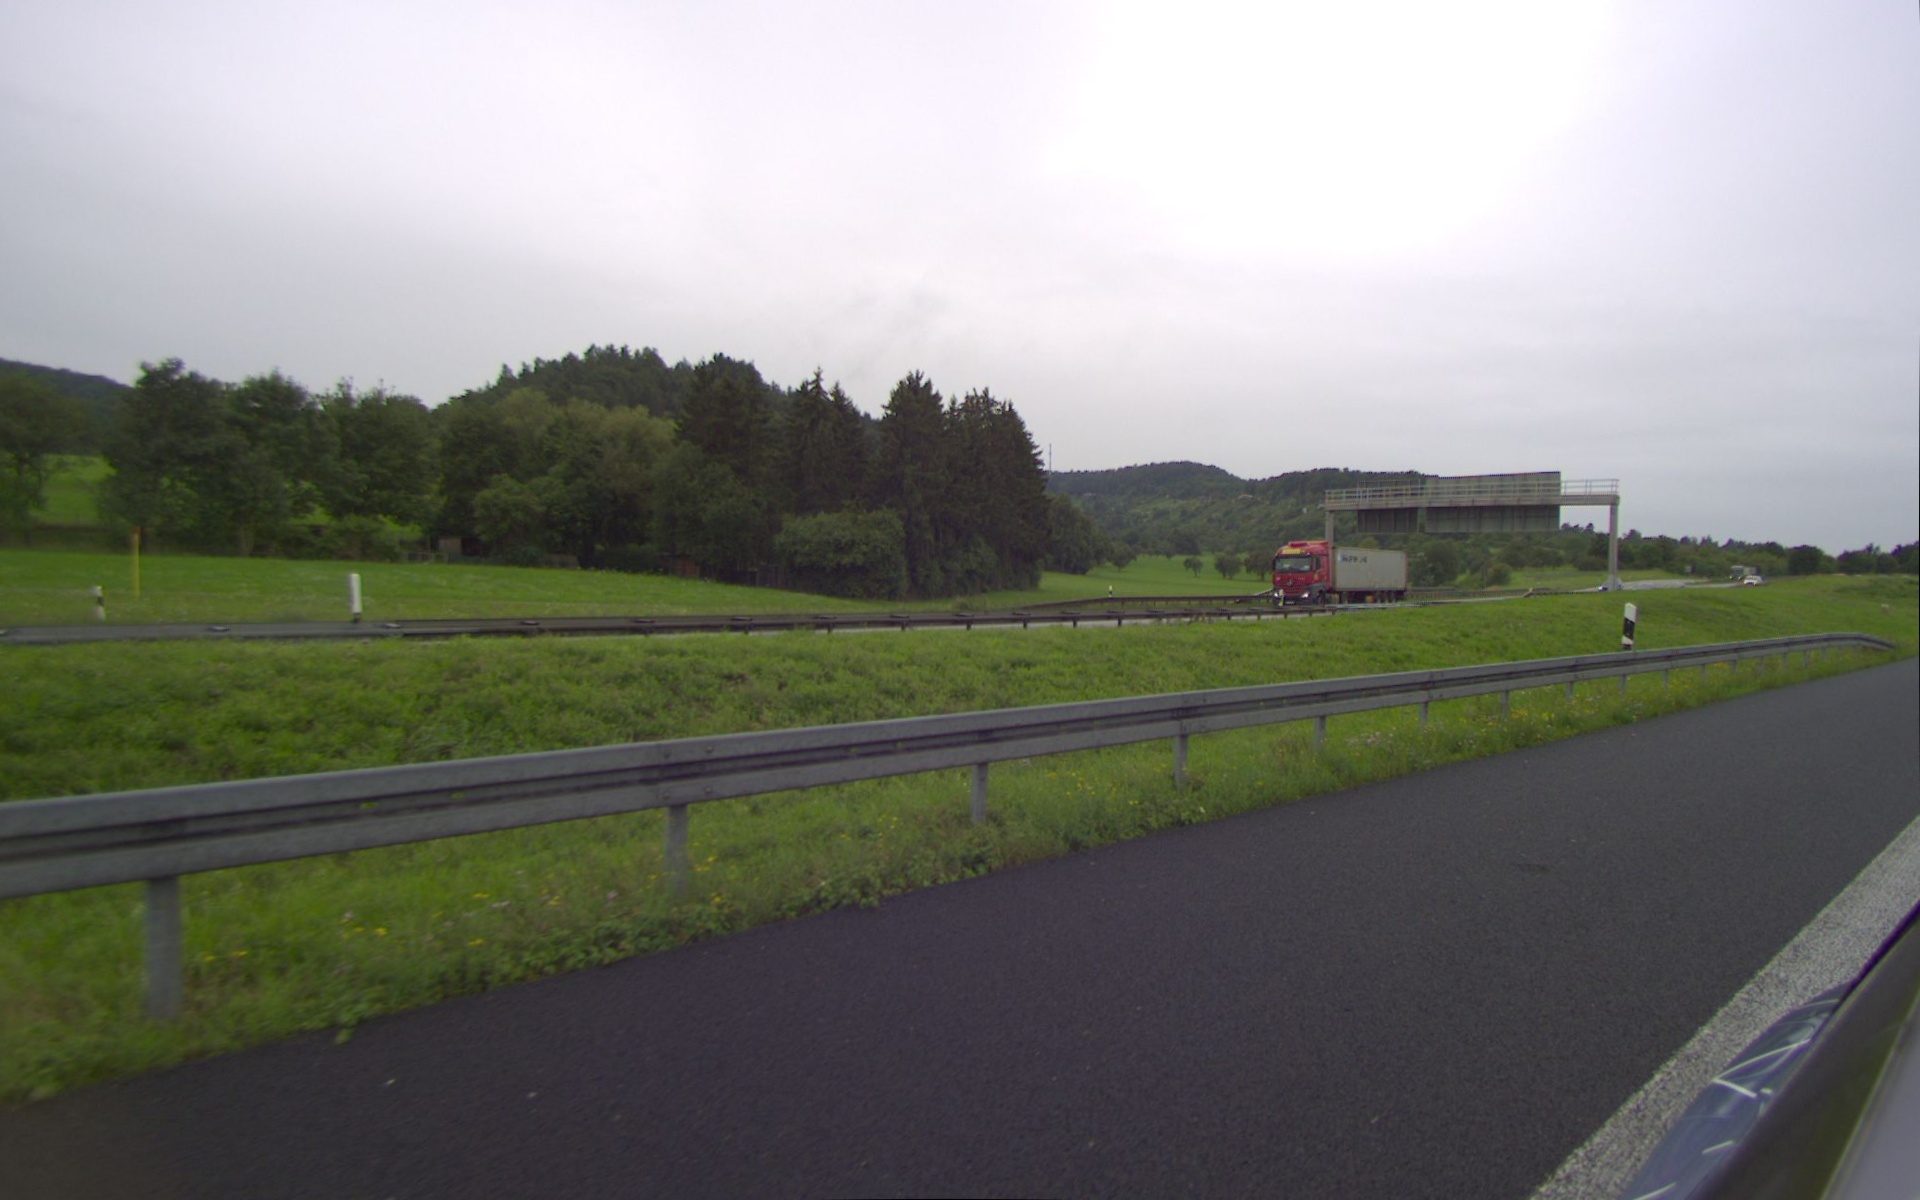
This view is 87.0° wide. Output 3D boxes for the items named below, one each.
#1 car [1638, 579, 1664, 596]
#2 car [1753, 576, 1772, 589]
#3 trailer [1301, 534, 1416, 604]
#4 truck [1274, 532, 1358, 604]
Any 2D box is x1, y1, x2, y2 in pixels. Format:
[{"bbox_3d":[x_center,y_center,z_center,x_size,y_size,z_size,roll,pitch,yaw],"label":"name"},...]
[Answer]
[{"bbox_3d":[75.097,-1.360,109.970,1.991,1.742,4.256,2,1,40],"label":"car"},{"bbox_3d":[134.533,-2.908,169.582,3.935,2.039,1.995,0,1,-45],"label":"car"},{"bbox_3d":[25.552,-1.840,64.344,2.490,4.034,12.211,0,0,43],"label":"trailer"},{"bbox_3d":[20.956,-1.804,59.469,2.508,4.037,5.835,0,0,43],"label":"truck"}]
